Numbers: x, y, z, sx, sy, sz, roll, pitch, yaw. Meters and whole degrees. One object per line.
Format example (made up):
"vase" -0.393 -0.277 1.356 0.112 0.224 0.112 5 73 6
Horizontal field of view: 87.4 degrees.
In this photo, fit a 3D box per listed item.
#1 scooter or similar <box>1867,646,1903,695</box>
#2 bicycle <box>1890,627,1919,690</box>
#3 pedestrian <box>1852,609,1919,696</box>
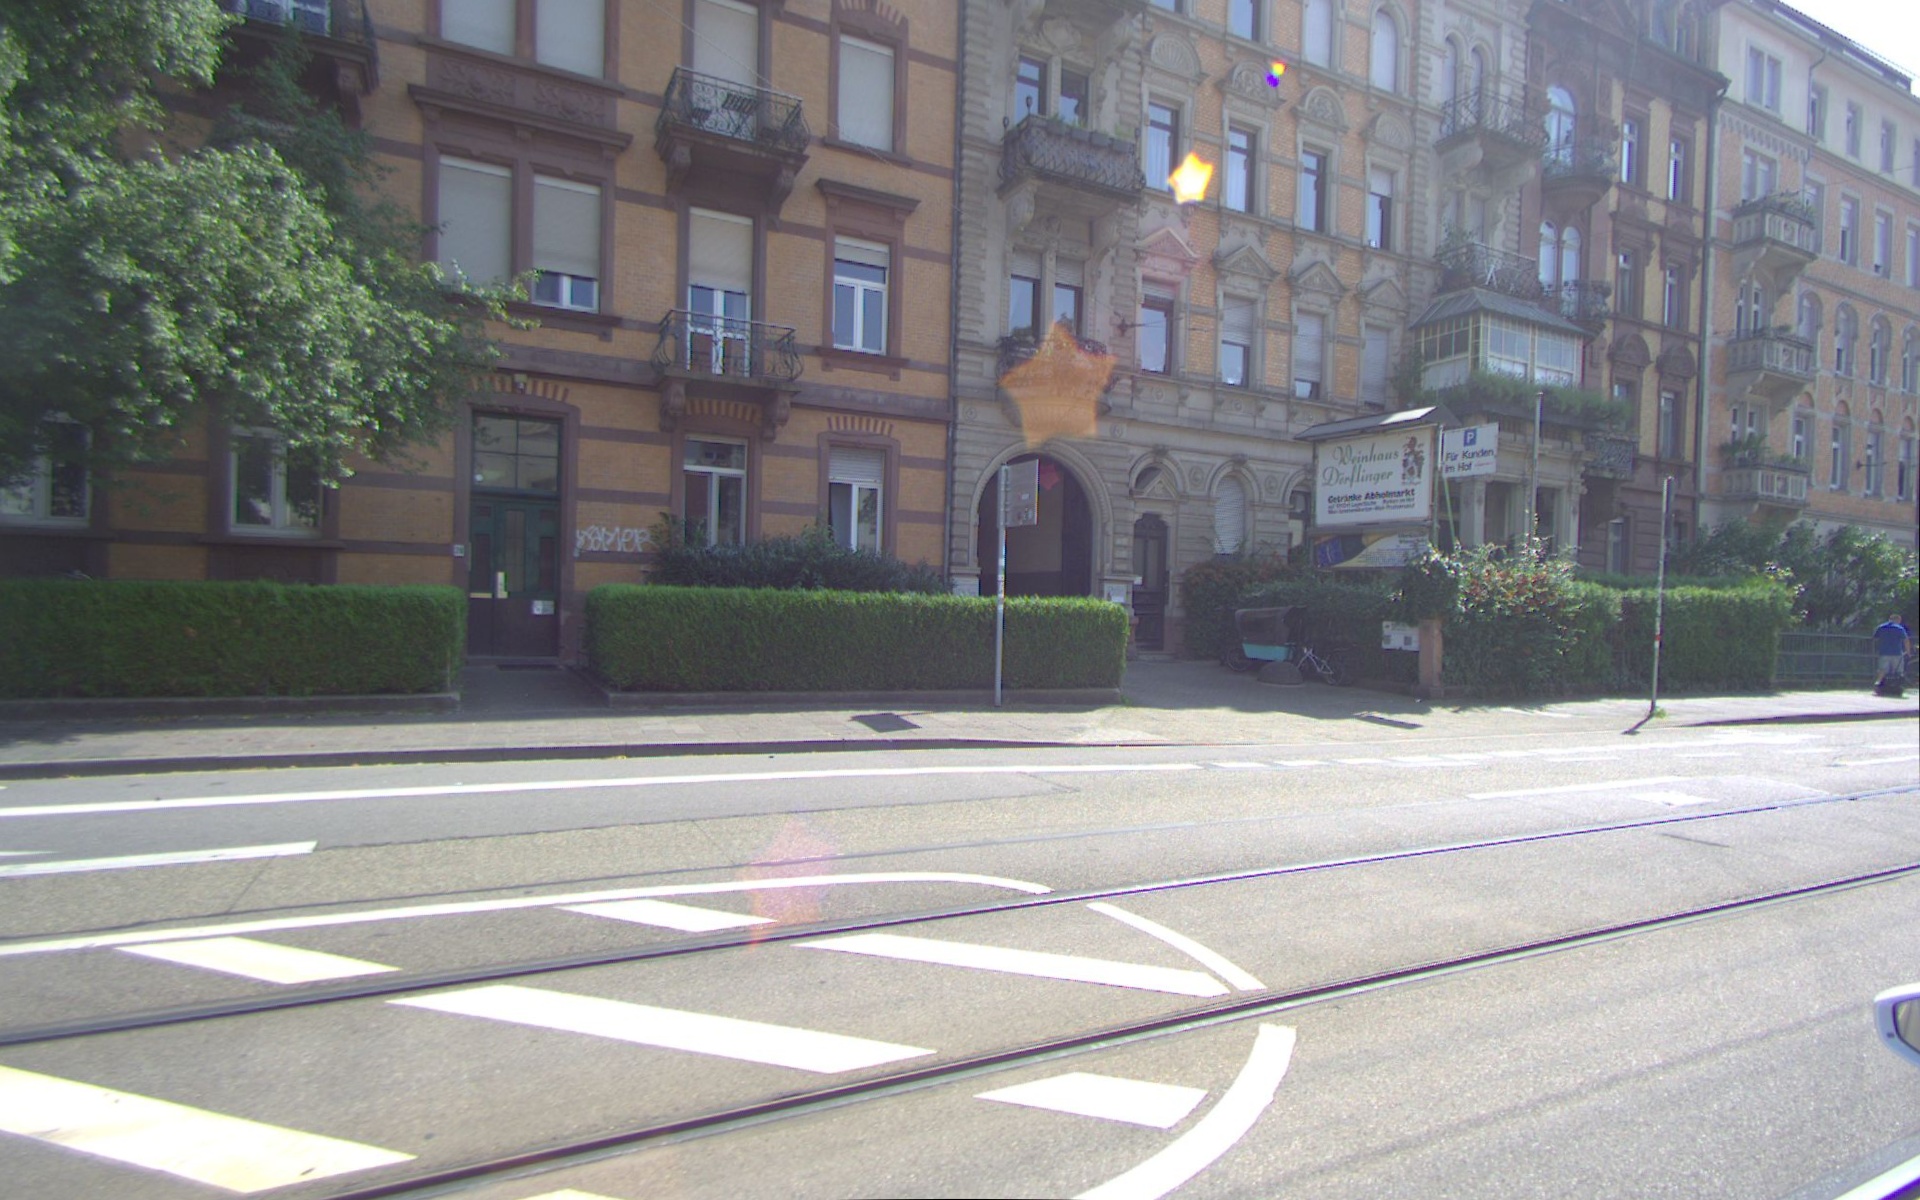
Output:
"scooter or similar" 19.365 1.469 21.027 0.579 0.995 0.397 1 2 -35
"bicycle" 22.267 1.354 23.356 1.561 1.425 0.388 1 1 -26
"pedestrian" 19.889 1.107 21.513 0.859 1.779 0.880 1 1 -27
